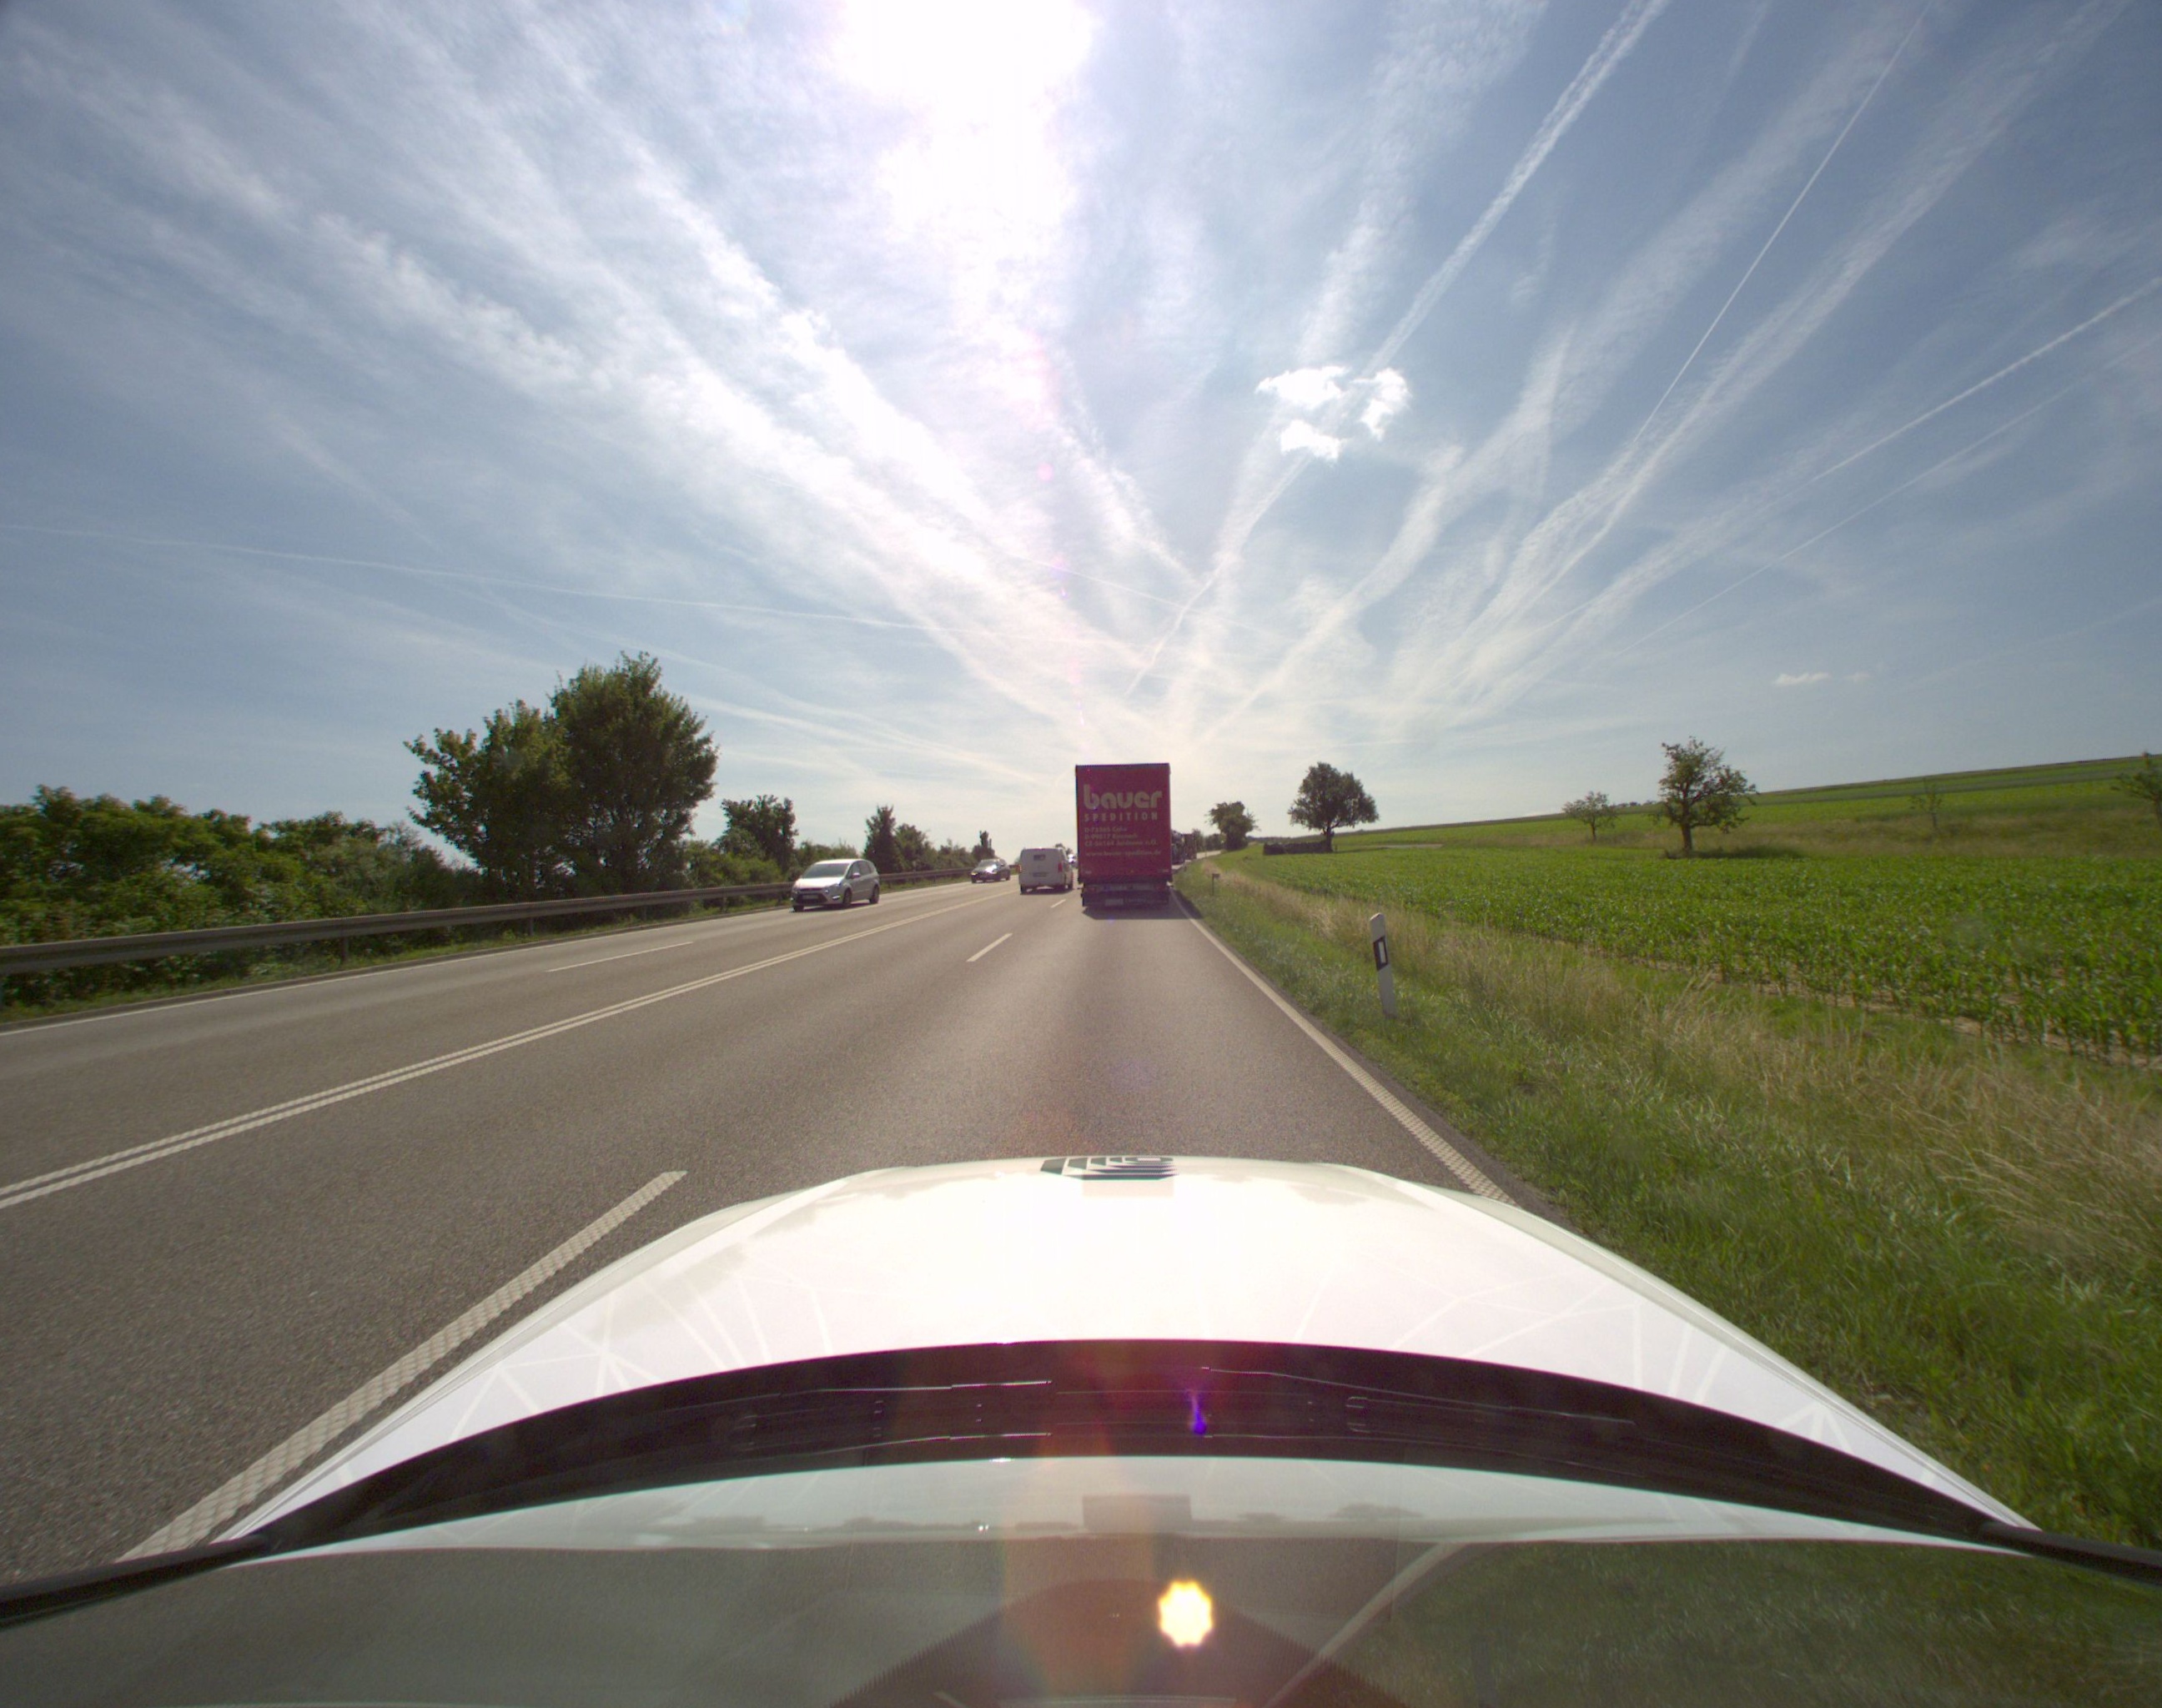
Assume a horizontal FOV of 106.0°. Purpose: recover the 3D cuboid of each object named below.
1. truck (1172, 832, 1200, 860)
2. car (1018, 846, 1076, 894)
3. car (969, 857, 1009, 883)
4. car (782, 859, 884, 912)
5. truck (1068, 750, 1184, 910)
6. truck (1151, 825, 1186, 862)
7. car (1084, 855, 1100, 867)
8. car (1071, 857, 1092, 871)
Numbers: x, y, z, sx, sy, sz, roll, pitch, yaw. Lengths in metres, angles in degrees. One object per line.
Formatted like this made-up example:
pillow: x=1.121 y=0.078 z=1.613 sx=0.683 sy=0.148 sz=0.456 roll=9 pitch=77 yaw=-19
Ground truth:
truck: x=16.788 y=-1.241 z=128.717 sx=3.027 sy=3.910 sz=18.454 roll=-2 pitch=0 yaw=11
car: x=-1.405 y=0.634 z=35.532 sx=1.897 sy=1.884 sz=5.437 roll=-2 pitch=0 yaw=4
car: x=-5.808 y=0.992 z=51.753 sx=1.710 sy=1.461 sz=4.220 roll=-2 pitch=0 yaw=4
car: x=-8.392 y=1.014 z=28.044 sx=1.805 sy=1.568 sz=4.688 roll=-2 pitch=0 yaw=3
truck: x=1.654 y=-0.632 z=29.889 sx=2.994 sy=4.180 sz=16.728 roll=-1 pitch=0 yaw=3
truck: x=10.407 y=-1.171 z=95.284 sx=3.029 sy=3.910 sz=15.656 roll=-2 pitch=0 yaw=9
car: x=1.471 y=0.964 z=109.439 sx=1.828 sy=1.455 sz=4.332 roll=-3 pitch=0 yaw=5
car: x=0.079 y=1.031 z=86.098 sx=1.649 sy=1.457 sz=3.741 roll=-2 pitch=0 yaw=7
